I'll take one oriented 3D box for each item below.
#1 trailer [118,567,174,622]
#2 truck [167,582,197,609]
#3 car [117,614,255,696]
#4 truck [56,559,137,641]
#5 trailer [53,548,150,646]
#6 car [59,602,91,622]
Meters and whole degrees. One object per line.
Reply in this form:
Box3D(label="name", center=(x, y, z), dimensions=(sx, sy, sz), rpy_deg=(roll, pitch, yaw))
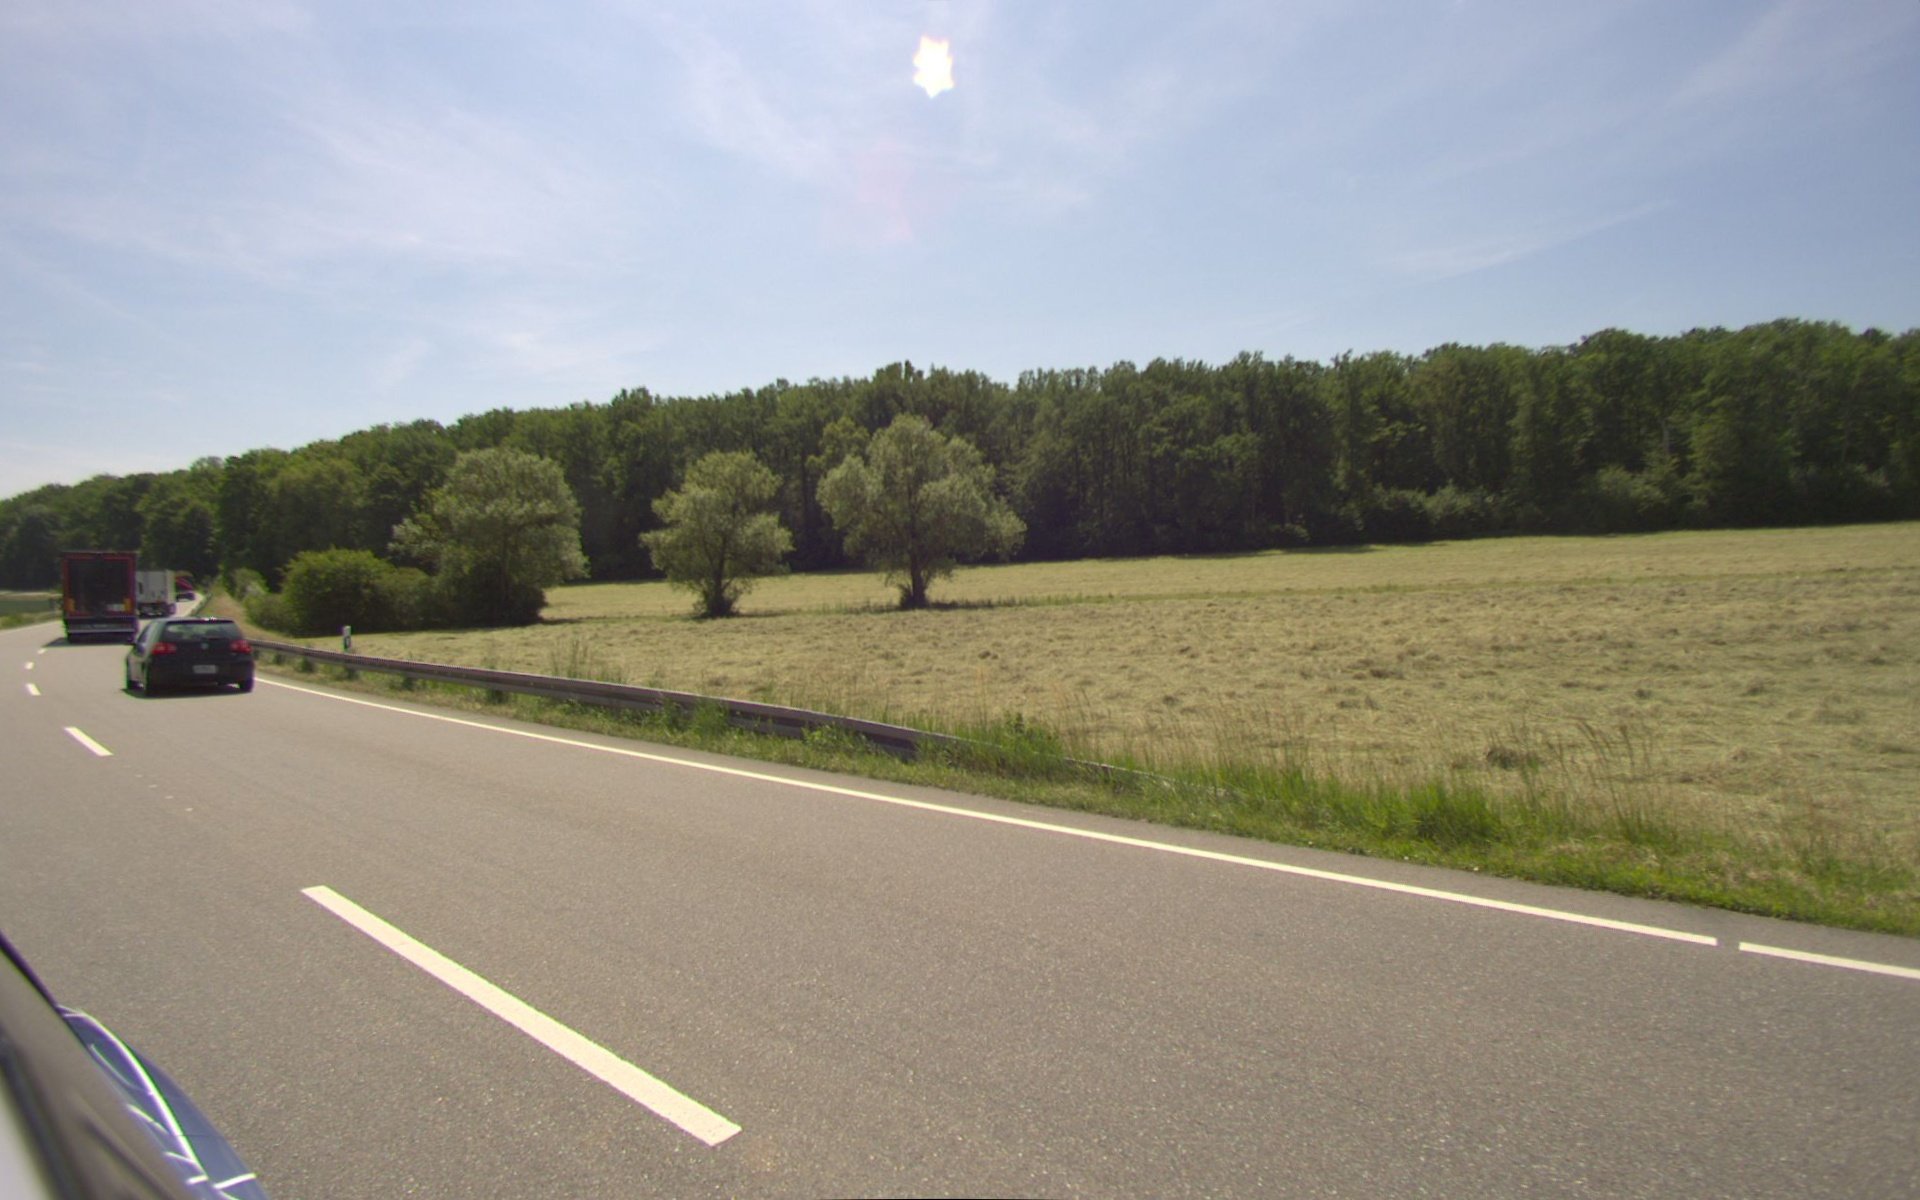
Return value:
Box3D(label="trailer", center=(-70.410, -0.507, 87.756), dimensions=(3.329, 4.434, 13.776), rpy_deg=(-1, 1, -37))
Box3D(label="truck", center=(-110.434, -0.706, 143.765), dimensions=(2.667, 3.677, 10.127), rpy_deg=(-2, 2, -34))
Box3D(label="car", center=(-15.719, 1.046, 20.484), dimensions=(1.680, 1.480, 4.202), rpy_deg=(1, -2, -45))
Box3D(label="truck", center=(-47.010, 0.051, 55.054), dimensions=(3.202, 4.181, 6.660), rpy_deg=(0, -1, -42))
Box3D(label="trailer", center=(-42.037, -0.080, 49.407), dimensions=(3.202, 4.181, 14.463), rpy_deg=(0, 0, -41))
Box3D(label="car", center=(-71.214, 0.949, 81.438), dimensions=(1.596, 1.447, 3.451), rpy_deg=(-3, 2, -36))
